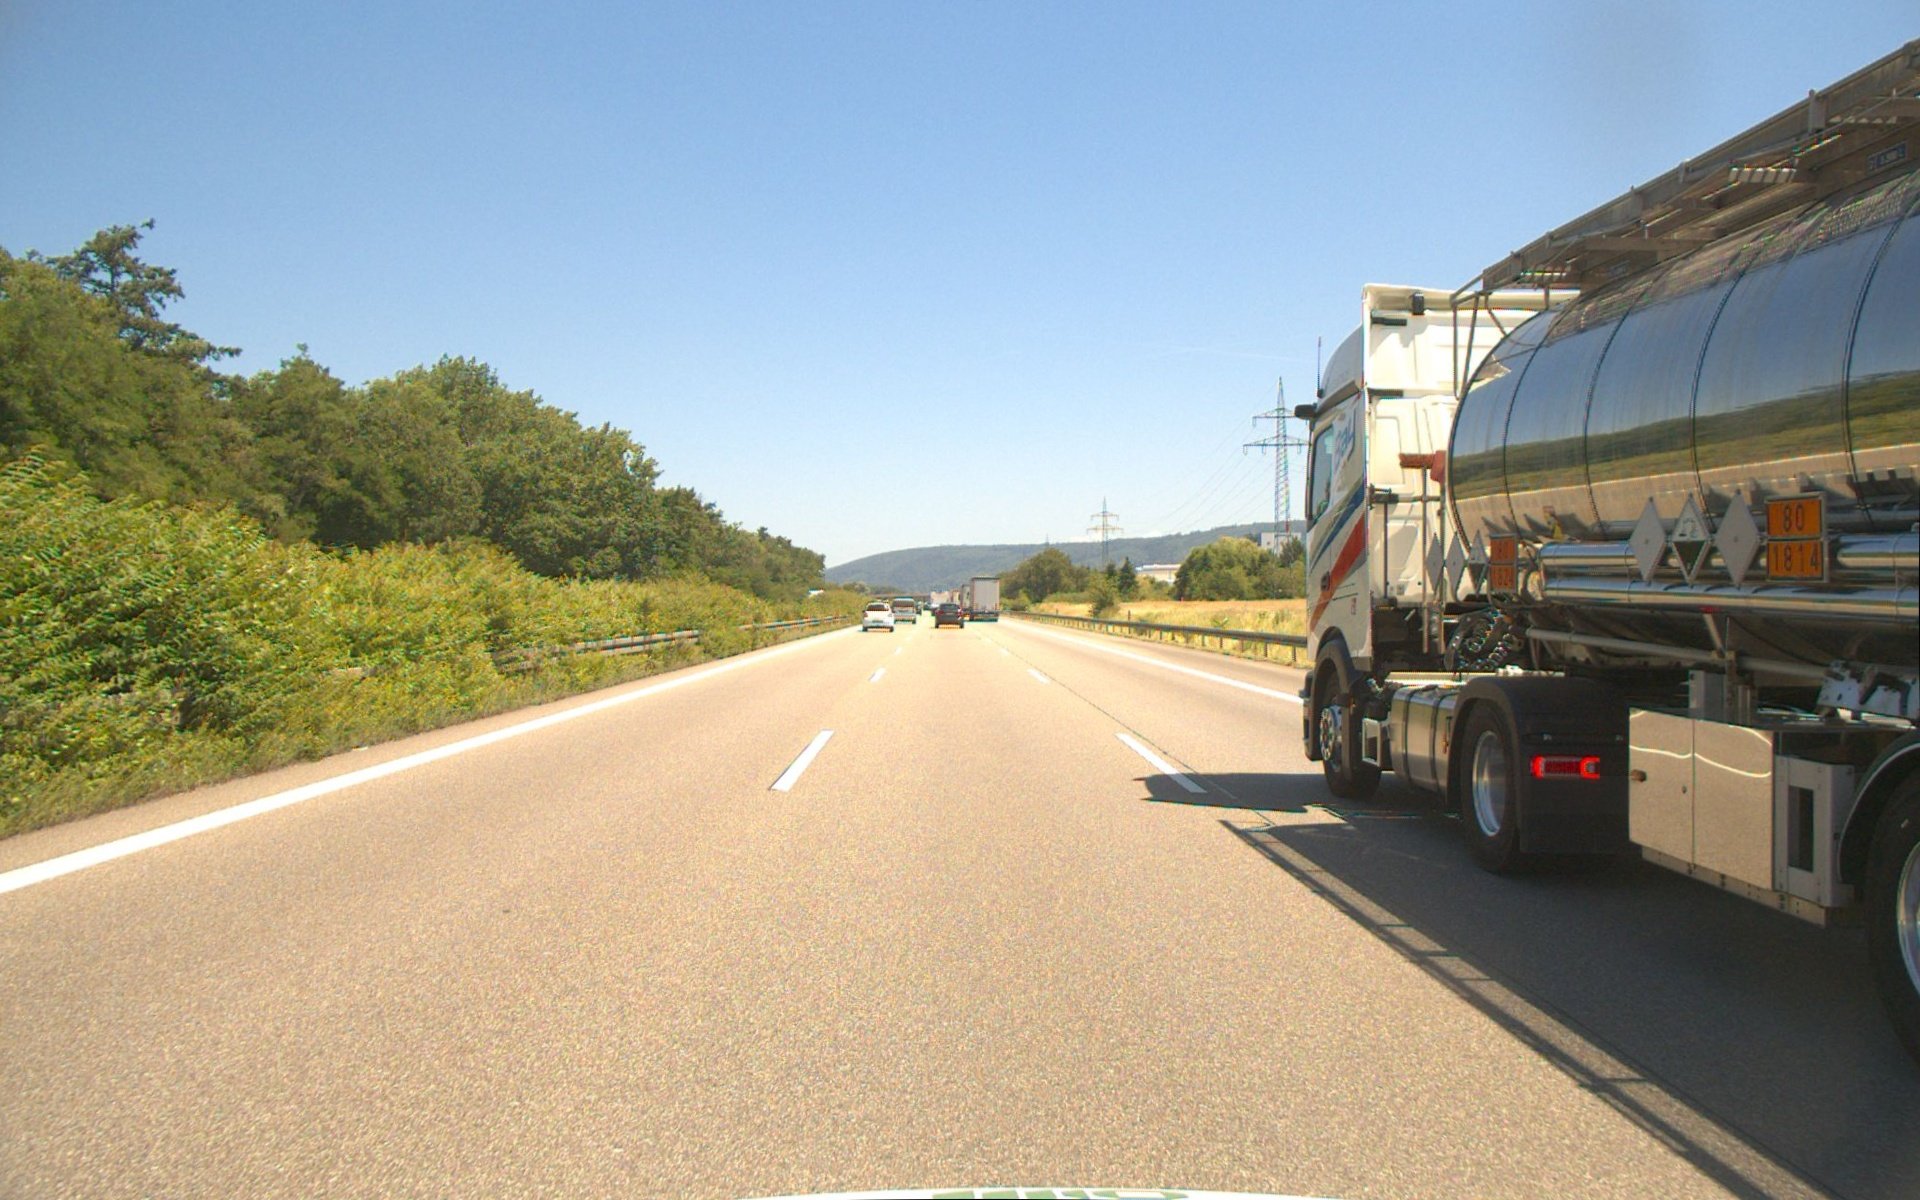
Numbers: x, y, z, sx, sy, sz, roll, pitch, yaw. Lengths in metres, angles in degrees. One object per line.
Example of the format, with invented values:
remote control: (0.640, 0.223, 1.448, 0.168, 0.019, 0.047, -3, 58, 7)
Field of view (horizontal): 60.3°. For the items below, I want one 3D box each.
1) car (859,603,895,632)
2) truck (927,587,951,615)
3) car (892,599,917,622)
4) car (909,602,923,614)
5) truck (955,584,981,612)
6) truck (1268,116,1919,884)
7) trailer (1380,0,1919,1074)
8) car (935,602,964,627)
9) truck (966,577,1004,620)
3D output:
car: (-4.489, 0.910, 89.899, 1.770, 1.494, 3.999, 1, 0, -1)
truck: (-2.847, 0.132, 221.717, 3.034, 3.535, 11.539, 1, 0, -1)
car: (-4.257, 0.787, 127.730, 1.814, 1.661, 3.999, 1, 0, -1)
car: (-6.169, 1.141, 231.691, 1.814, 1.661, 3.999, 1, 0, -1)
truck: (0.982, -0.249, 216.378, 3.034, 3.535, 11.539, 1, 0, -1)
truck: (4.226, -0.547, 12.223, 2.521, 4.143, 6.391, 1, 0, -1)
trailer: (4.358, -0.531, 6.058, 2.528, 4.145, 11.100, 1, 0, -1)
car: (-0.696, 0.909, 107.230, 1.846, 1.542, 3.999, 1, 0, -1)
truck: (2.307, -0.169, 157.265, 3.199, 3.925, 11.628, 1, 0, -1)
